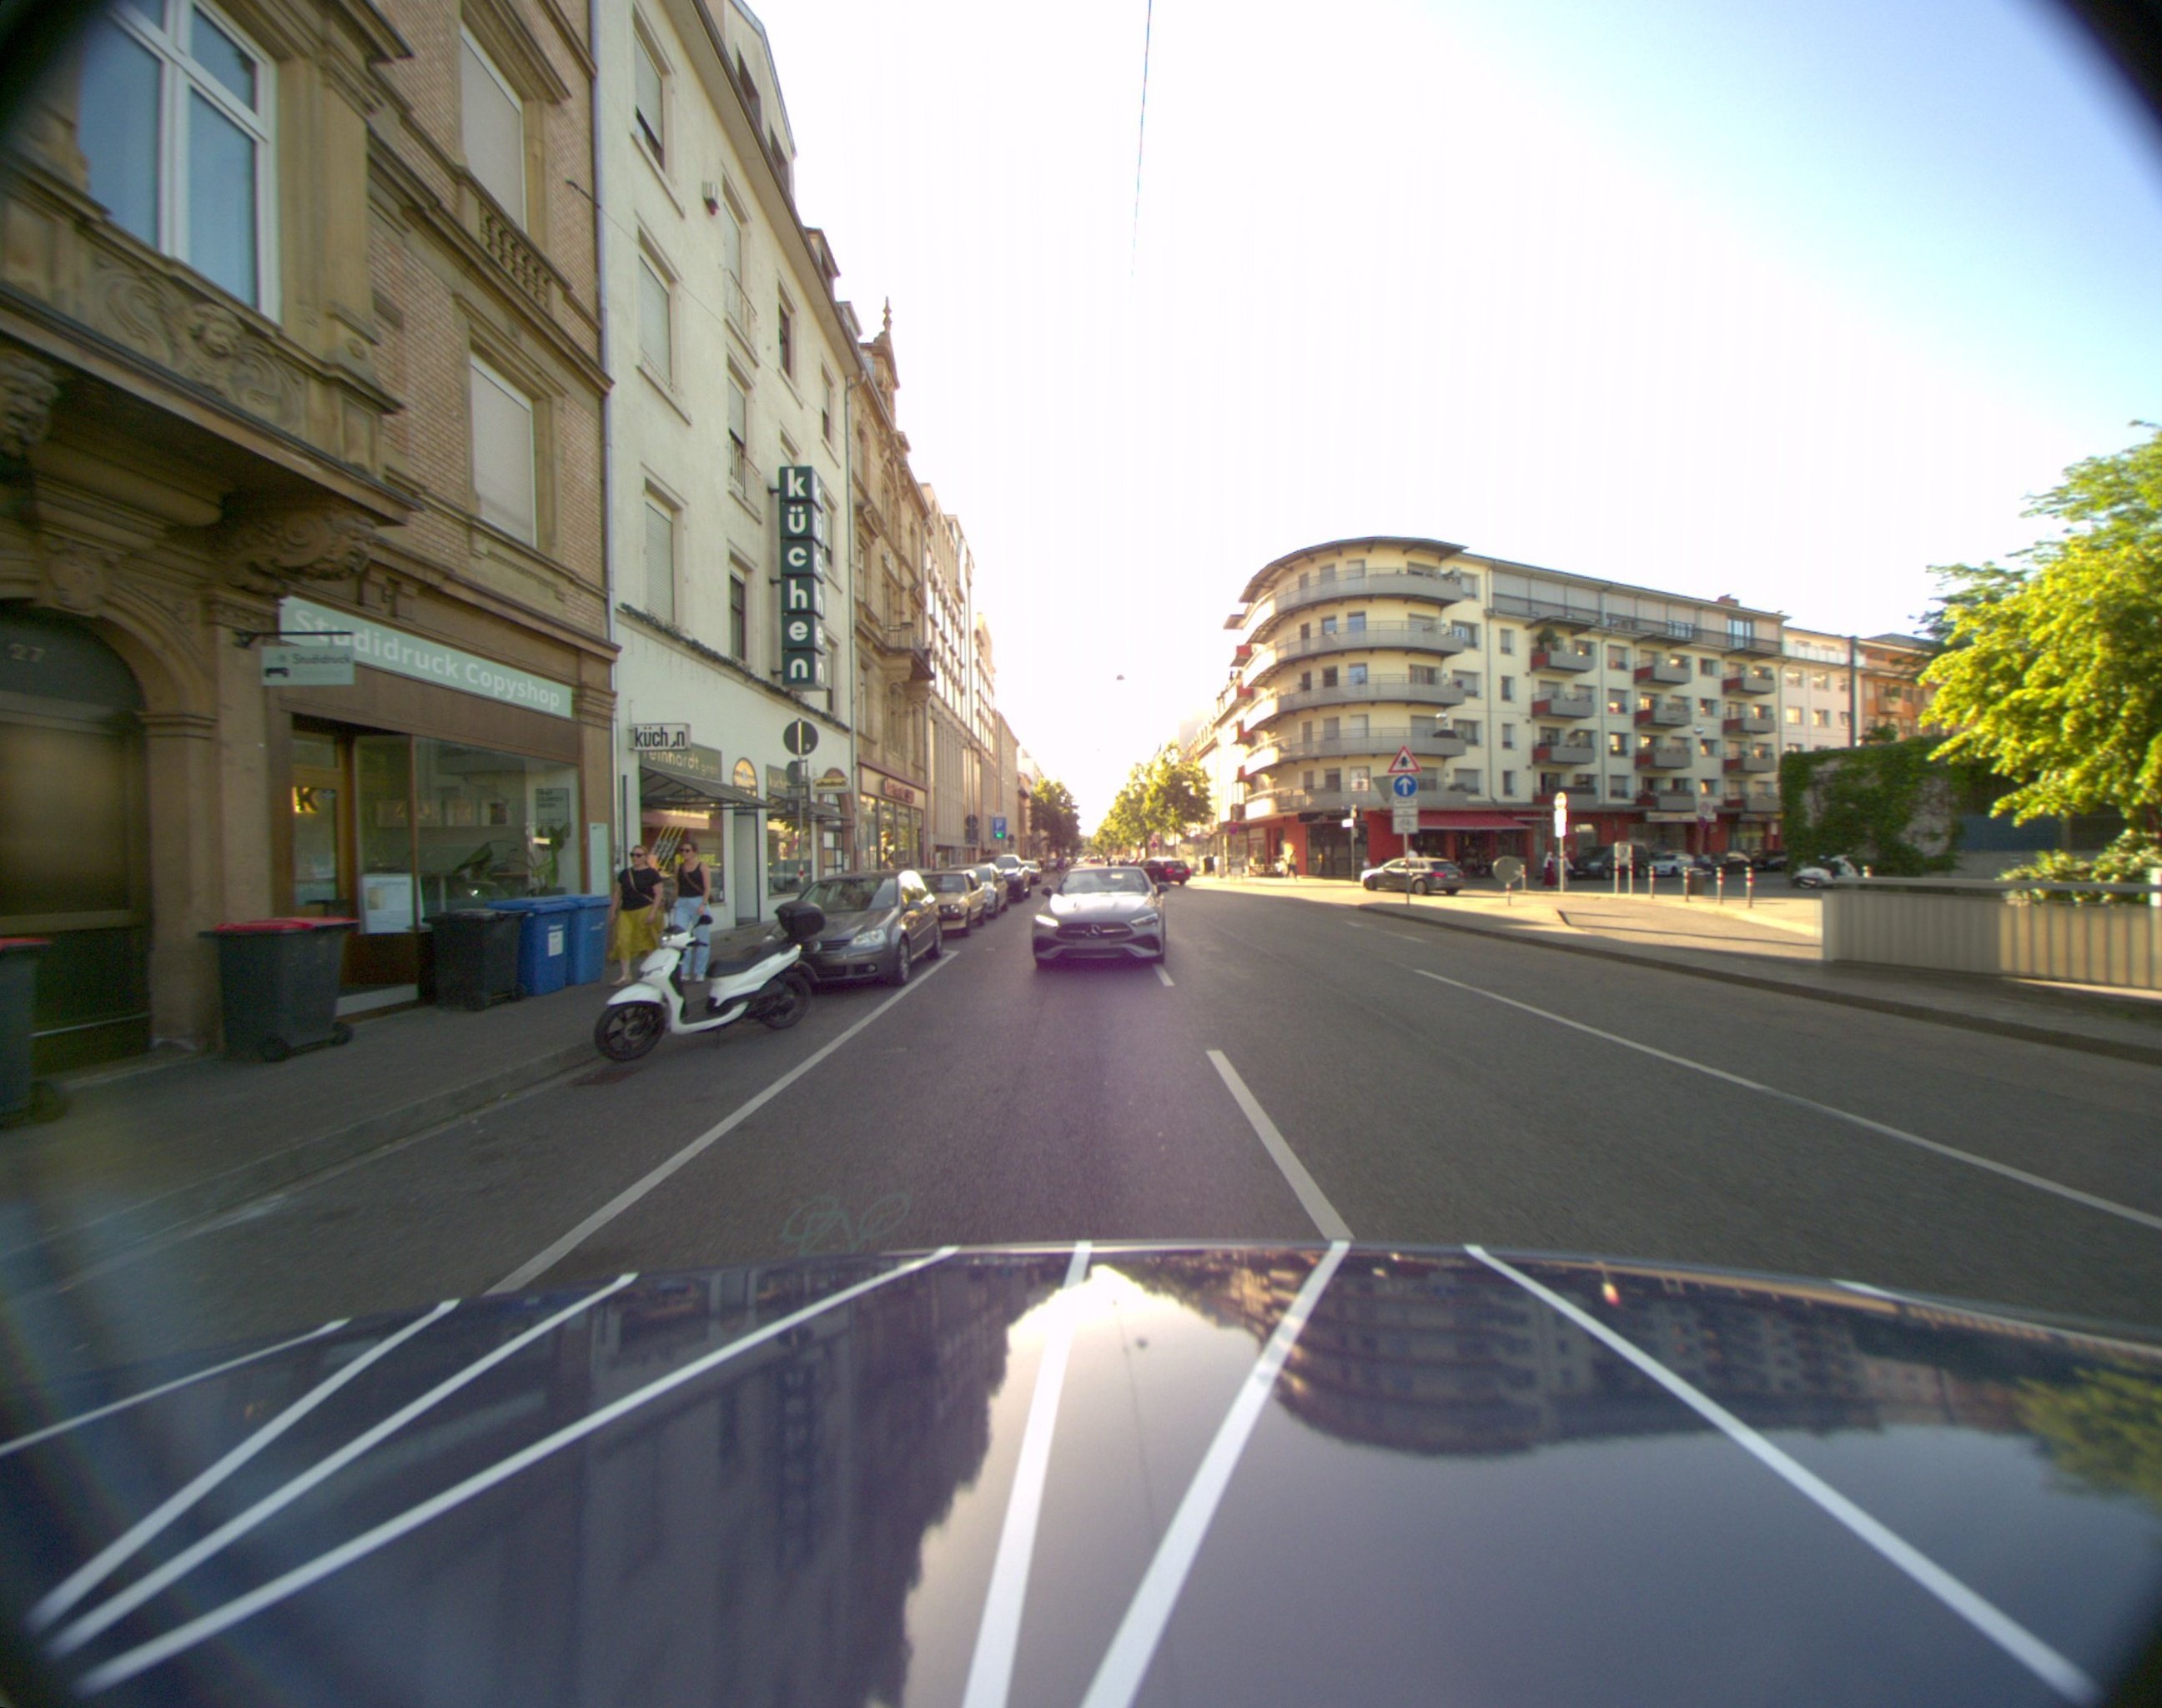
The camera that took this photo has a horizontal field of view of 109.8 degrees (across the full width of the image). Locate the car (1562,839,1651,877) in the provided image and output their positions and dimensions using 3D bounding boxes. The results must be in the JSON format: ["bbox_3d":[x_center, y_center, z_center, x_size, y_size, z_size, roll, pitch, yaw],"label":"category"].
[{"bbox_3d":[29.218,0.196,42.234,4.431,1.901,1.952,-2,0,-23],"label":"car"}]

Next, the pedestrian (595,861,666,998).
[{"bbox_3d":[-5.465,0.893,9.238,0.619,1.623,0.462,0,0,-9],"label":"pedestrian"}]

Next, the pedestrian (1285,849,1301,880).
[{"bbox_3d":[11.409,0.548,40.844,0.570,1.612,0.793,-2,1,-2],"label":"pedestrian"}]

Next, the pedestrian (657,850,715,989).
[{"bbox_3d":[-4.798,0.775,9.255,0.515,1.623,0.414,-2,1,-20],"label":"pedestrian"}]

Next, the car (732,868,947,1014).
[{"bbox_3d":[-3.102,1.021,10.693,1.737,1.509,4.164,-2,0,-1],"label":"car"}]

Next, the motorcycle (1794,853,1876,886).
[{"bbox_3d":[26.414,0.546,26.656,1.927,1.096,0.682,-2,1,23],"label":"motorcycle"}]

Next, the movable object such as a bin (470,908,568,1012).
[{"bbox_3d":[-6.236,1.158,8.454,0.606,1.067,0.619,1,0,1],"label":"movable object such as a bin"}]

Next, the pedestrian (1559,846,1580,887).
[{"bbox_3d":[21.407,0.547,33.300,0.602,1.782,0.581,-3,1,-40],"label":"pedestrian"}]

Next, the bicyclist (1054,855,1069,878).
[{"bbox_3d":[-1.213,0.773,47.128,0.798,1.426,1.008,-2,0,2],"label":"bicyclist"}]

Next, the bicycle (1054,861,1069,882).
[{"bbox_3d":[-1.200,1.083,47.116,0.798,1.225,1.774,-2,0,3],"label":"bicycle"}]

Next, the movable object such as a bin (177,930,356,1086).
[{"bbox_3d":[-6.265,1.159,5.877,0.716,1.065,0.619,1,0,1],"label":"movable object such as a bin"}]

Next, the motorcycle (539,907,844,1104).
[{"bbox_3d":[-3.314,1.187,6.623,2.178,1.272,0.866,-2,0,-41],"label":"motorcycle"}]

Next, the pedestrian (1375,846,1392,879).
[{"bbox_3d":[15.597,0.437,39.156,0.575,1.698,0.642,-2,1,3],"label":"pedestrian"}]

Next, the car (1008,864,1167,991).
[{"bbox_3d":[0.316,0.936,11.514,1.846,1.440,4.375,-2,0,7],"label":"car"}]

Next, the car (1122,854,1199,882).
[{"bbox_3d":[4.233,0.747,40.986,1.899,1.388,4.246,-2,0,-32],"label":"car"}]

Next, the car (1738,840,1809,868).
[{"bbox_3d":[44.745,-0.005,49.088,3.939,1.611,1.788,-2,0,-21],"label":"car"}]

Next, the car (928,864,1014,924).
[{"bbox_3d":[-2.967,1.036,21.189,1.737,1.408,3.802,-2,0,1],"label":"car"}]

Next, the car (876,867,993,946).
[{"bbox_3d":[-3.082,1.057,16.750,1.737,1.408,3.802,-2,0,1],"label":"car"}]

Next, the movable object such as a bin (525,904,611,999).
[{"bbox_3d":[-6.196,1.159,9.196,0.606,1.067,0.619,1,0,1],"label":"movable object such as a bin"}]

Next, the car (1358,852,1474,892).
[{"bbox_3d":[12.983,0.674,29.687,1.810,1.388,3.919,-2,0,-24],"label":"car"}]

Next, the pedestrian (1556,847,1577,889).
[{"bbox_3d":[21.021,0.587,32.913,0.602,1.782,0.581,-3,1,-44],"label":"pedestrian"}]

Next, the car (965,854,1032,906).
[{"bbox_3d":[-2.917,0.881,27.819,1.895,1.680,4.049,-2,0,1],"label":"car"}]

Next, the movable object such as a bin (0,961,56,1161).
[{"bbox_3d":[-6.300,1.148,4.096,0.716,1.065,0.619,1,0,1],"label":"movable object such as a bin"}]

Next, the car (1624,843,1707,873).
[{"bbox_3d":[34.168,0.229,44.414,4.300,1.611,1.952,-2,0,-23],"label":"car"}]

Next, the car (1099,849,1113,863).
[{"bbox_3d":[3.654,0.284,111.567,1.998,2.002,4.000,-2,1,1],"label":"car"}]

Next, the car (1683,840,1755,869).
[{"bbox_3d":[39.587,0.015,47.153,3.939,1.611,1.788,-2,0,-23],"label":"car"}]

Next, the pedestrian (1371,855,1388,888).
[{"bbox_3d":[15.661,0.901,39.862,0.575,1.698,0.642,-2,1,3],"label":"pedestrian"}]

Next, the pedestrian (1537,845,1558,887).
[{"bbox_3d":[20.204,0.532,32.894,0.602,1.782,0.581,-3,1,-44],"label":"pedestrian"}]

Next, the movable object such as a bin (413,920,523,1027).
[{"bbox_3d":[-6.239,1.202,7.759,0.606,0.986,0.619,1,0,1],"label":"movable object such as a bin"}]

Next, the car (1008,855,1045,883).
[{"bbox_3d":[-3.344,0.893,47.558,1.895,1.595,4.049,-2,0,1],"label":"car"}]
